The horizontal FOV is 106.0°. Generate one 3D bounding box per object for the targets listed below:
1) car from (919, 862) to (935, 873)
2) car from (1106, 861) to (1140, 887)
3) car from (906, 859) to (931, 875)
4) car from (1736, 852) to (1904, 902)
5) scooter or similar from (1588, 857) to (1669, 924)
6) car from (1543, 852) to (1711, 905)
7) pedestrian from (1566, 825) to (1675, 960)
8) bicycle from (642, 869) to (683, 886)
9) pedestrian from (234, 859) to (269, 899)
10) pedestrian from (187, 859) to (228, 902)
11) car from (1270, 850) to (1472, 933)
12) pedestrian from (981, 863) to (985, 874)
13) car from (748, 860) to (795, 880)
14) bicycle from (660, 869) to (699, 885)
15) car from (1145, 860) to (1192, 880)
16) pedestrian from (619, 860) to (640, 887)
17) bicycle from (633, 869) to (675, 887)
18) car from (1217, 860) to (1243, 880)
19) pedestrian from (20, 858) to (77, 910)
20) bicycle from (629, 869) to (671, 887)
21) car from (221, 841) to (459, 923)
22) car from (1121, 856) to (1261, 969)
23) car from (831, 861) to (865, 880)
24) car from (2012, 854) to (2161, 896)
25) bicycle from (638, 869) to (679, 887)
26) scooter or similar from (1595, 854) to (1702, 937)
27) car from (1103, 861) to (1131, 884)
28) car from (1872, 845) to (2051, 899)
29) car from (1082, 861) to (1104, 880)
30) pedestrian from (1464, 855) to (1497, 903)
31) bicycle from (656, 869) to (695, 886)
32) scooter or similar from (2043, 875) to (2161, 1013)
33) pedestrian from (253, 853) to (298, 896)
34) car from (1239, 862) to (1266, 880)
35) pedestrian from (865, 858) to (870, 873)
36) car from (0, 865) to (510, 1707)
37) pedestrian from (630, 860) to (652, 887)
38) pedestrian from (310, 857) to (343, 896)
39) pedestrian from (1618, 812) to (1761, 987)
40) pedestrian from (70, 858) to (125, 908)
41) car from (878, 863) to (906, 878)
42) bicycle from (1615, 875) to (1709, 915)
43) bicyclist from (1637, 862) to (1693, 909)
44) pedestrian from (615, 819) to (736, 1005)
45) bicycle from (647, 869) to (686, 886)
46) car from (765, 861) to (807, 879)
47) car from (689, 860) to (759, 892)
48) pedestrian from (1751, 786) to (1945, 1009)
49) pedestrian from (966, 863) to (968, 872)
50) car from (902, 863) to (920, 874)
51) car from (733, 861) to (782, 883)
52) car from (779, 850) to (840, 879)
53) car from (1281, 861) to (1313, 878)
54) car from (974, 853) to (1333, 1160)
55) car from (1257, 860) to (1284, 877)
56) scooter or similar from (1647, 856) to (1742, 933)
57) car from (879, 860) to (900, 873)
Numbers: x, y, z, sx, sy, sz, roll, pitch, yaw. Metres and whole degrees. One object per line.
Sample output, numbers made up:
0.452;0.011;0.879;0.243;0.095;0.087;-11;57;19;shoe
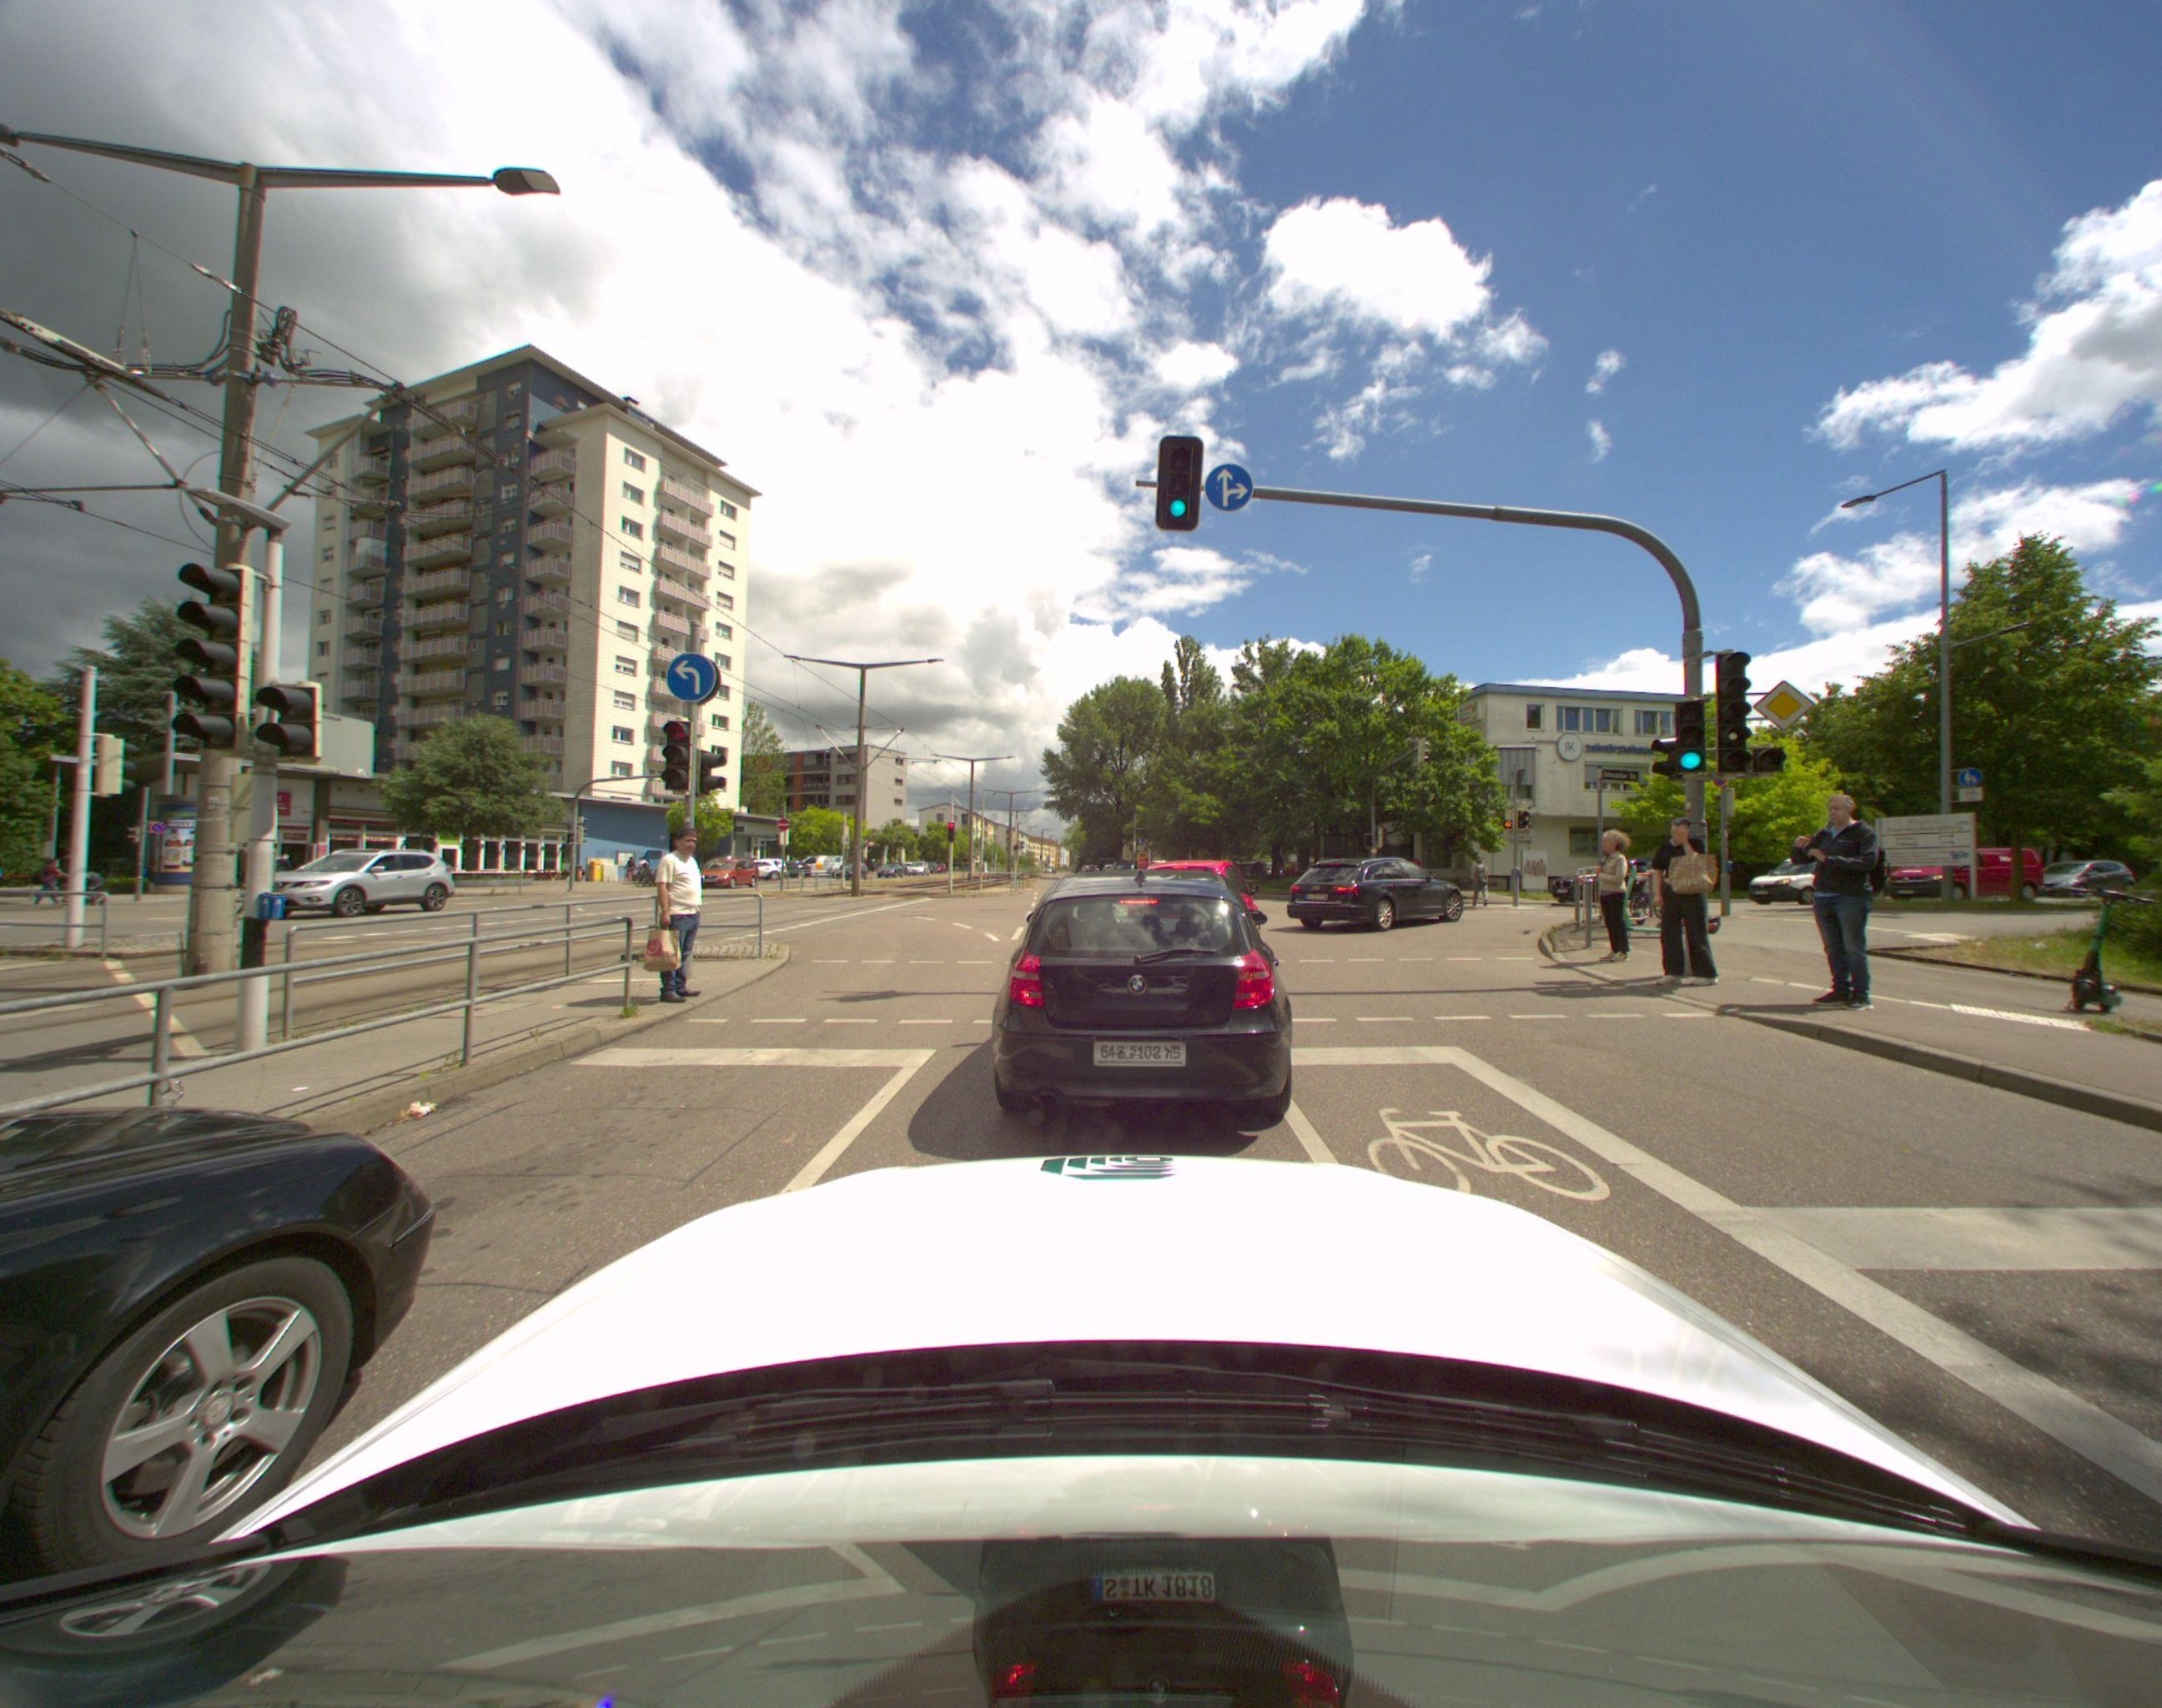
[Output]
-21.293;1.850;112.857;1.758;1.395;3.993;0;0;-5;car
2.777;1.329;54.289;2.144;1.684;4.002;0;-1;2;car
-18.297;1.459;91.677;1.930;1.693;3.874;0;0;2;car
26.294;0.783;29.040;4.555;1.717;1.995;0;0;-8;car
9.885;0.652;14.693;1.360;1.156;0.540;1;0;-23;scooter or similar
18.637;0.796;27.915;4.551;1.717;1.996;0;0;-5;car
7.042;0.489;10.688;0.945;1.674;0.874;-1;-1;17;pedestrian
-23.256;1.312;45.269;1.943;0.935;0.494;0;-1;-5;bicycle
-33.677;1.004;33.076;0.761;1.615;0.701;0;-1;16;pedestrian
-34.590;1.052;32.262;0.756;1.616;0.784;1;-6;30;pedestrian
6.277;0.719;17.421;4.543;1.554;1.977;0;-1;-39;car
-15.490;2.265;128.876;0.477;1.637;0.454;0;0;1;pedestrian
-24.527;1.264;64.456;4.165;1.538;1.973;0;0;45;car
-23.134;1.325;46.917;1.943;0.935;0.494;0;-1;-5;bicycle
8.138;1.472;75.679;4.001;1.823;1.766;0;0;-21;car
-28.820;1.234;52.008;0.953;1.659;1.086;0;-1;-43;pedestrian
-23.212;1.304;44.286;1.943;0.935;0.494;0;-1;-5;bicycle
14.045;1.478;76.790;1.626;1.811;4.030;0;0;-1;car
-33.994;0.967;26.820;0.957;1.659;1.002;-1;-1;28;pedestrian
-23.177;1.299;43.781;1.943;0.935;0.494;0;-1;-5;bicycle
-18.682;0.647;20.907;1.988;1.801;4.508;-2;0;-1;car
1.771;0.763;12.306;1.529;1.441;3.211;0;0;18;car
-19.113;1.322;66.938;1.624;1.414;4.253;-1;1;-1;car
42.925;0.857;34.746;4.552;1.717;1.996;0;0;-6;car
-23.234;1.308;44.792;1.943;0.935;0.494;0;-1;-5;bicycle
8.977;0.637;12.907;1.336;1.277;0.463;0;1;8;scooter or similar
2.720;1.420;61.744;1.986;1.684;4.001;0;-1;2;car
31.918;0.653;29.600;4.800;1.864;1.995;0;-2;-8;car
1.189;1.530;77.104;1.986;1.684;4.002;0;0;2;car
14.108;0.867;28.780;0.765;1.643;0.908;0;0;1;pedestrian
-23.120;1.321;46.425;1.943;0.935;0.494;0;-1;-5;bicycle
10.624;0.921;8.466;1.247;1.275;0.709;6;-1;-38;scooter or similar
-36.921;0.914;37.345;0.861;1.917;1.215;0;0;2;pedestrian
16.301;1.602;77.498;1.626;1.573;4.030;0;0;-1;car
-24.554;1.312;93.530;0.547;1.716;0.404;0;-1;-8;pedestrian
-2.777;0.759;0.351;1.721;1.461;4.546;0;0;2;car
-27.720;1.240;51.315;0.953;1.659;1.086;0;-1;-43;pedestrian
-32.206;0.951;34.780;0.767;1.615;0.695;0;-1;-12;pedestrian
6.502;0.461;8.738;0.933;1.765;0.770;-1;0;-10;pedestrian
-33.649;0.974;27.874;0.957;1.659;1.002;-1;-1;28;pedestrian
-18.190;1.546;78.632;1.629;1.399;4.492;0;-1;0;car
13.004;0.898;18.302;0.789;0.819;1.806;0;0;-2;bicycle
13.007;0.684;18.150;0.789;1.022;0.635;0;0;-2;bicyclist
-4.122;0.566;8.331;0.866;1.808;0.741;0;0;-2;pedestrian
-23.289;1.317;45.774;1.943;0.935;0.494;0;-1;-5;bicycle
-24.573;1.341;67.714;1.800;1.420;4.166;0;0;-43;car
-19.628;1.167;44.987;1.989;1.635;4.456;-2;0;-3;car
7.053;0.378;7.543;0.963;1.942;0.896;0;0;-3;pedestrian
-20.323;2.400;145.160;0.452;1.637;0.480;0;0;-3;pedestrian
-21.195;1.813;101.688;1.758;1.395;3.993;0;0;-5;car
-24.318;1.352;61.148;4.165;1.570;1.973;0;0;45;car
-24.324;0.894;72.721;2.848;2.478;6.642;0;0;-41;car
20.953;1.482;79.016;1.728;1.595;3.992;0;0;-5;car
0.420;0.737;5.961;1.746;1.487;4.002;0;0;2;car
18.229;1.344;78.643;1.626;1.595;3.998;0;0;-1;car
10.366;0.672;13.778;1.225;1.240;0.555;2;0;-7;scooter or similar
-22.133;1.458;94.176;1.758;1.395;3.993;0;0;-5;car
